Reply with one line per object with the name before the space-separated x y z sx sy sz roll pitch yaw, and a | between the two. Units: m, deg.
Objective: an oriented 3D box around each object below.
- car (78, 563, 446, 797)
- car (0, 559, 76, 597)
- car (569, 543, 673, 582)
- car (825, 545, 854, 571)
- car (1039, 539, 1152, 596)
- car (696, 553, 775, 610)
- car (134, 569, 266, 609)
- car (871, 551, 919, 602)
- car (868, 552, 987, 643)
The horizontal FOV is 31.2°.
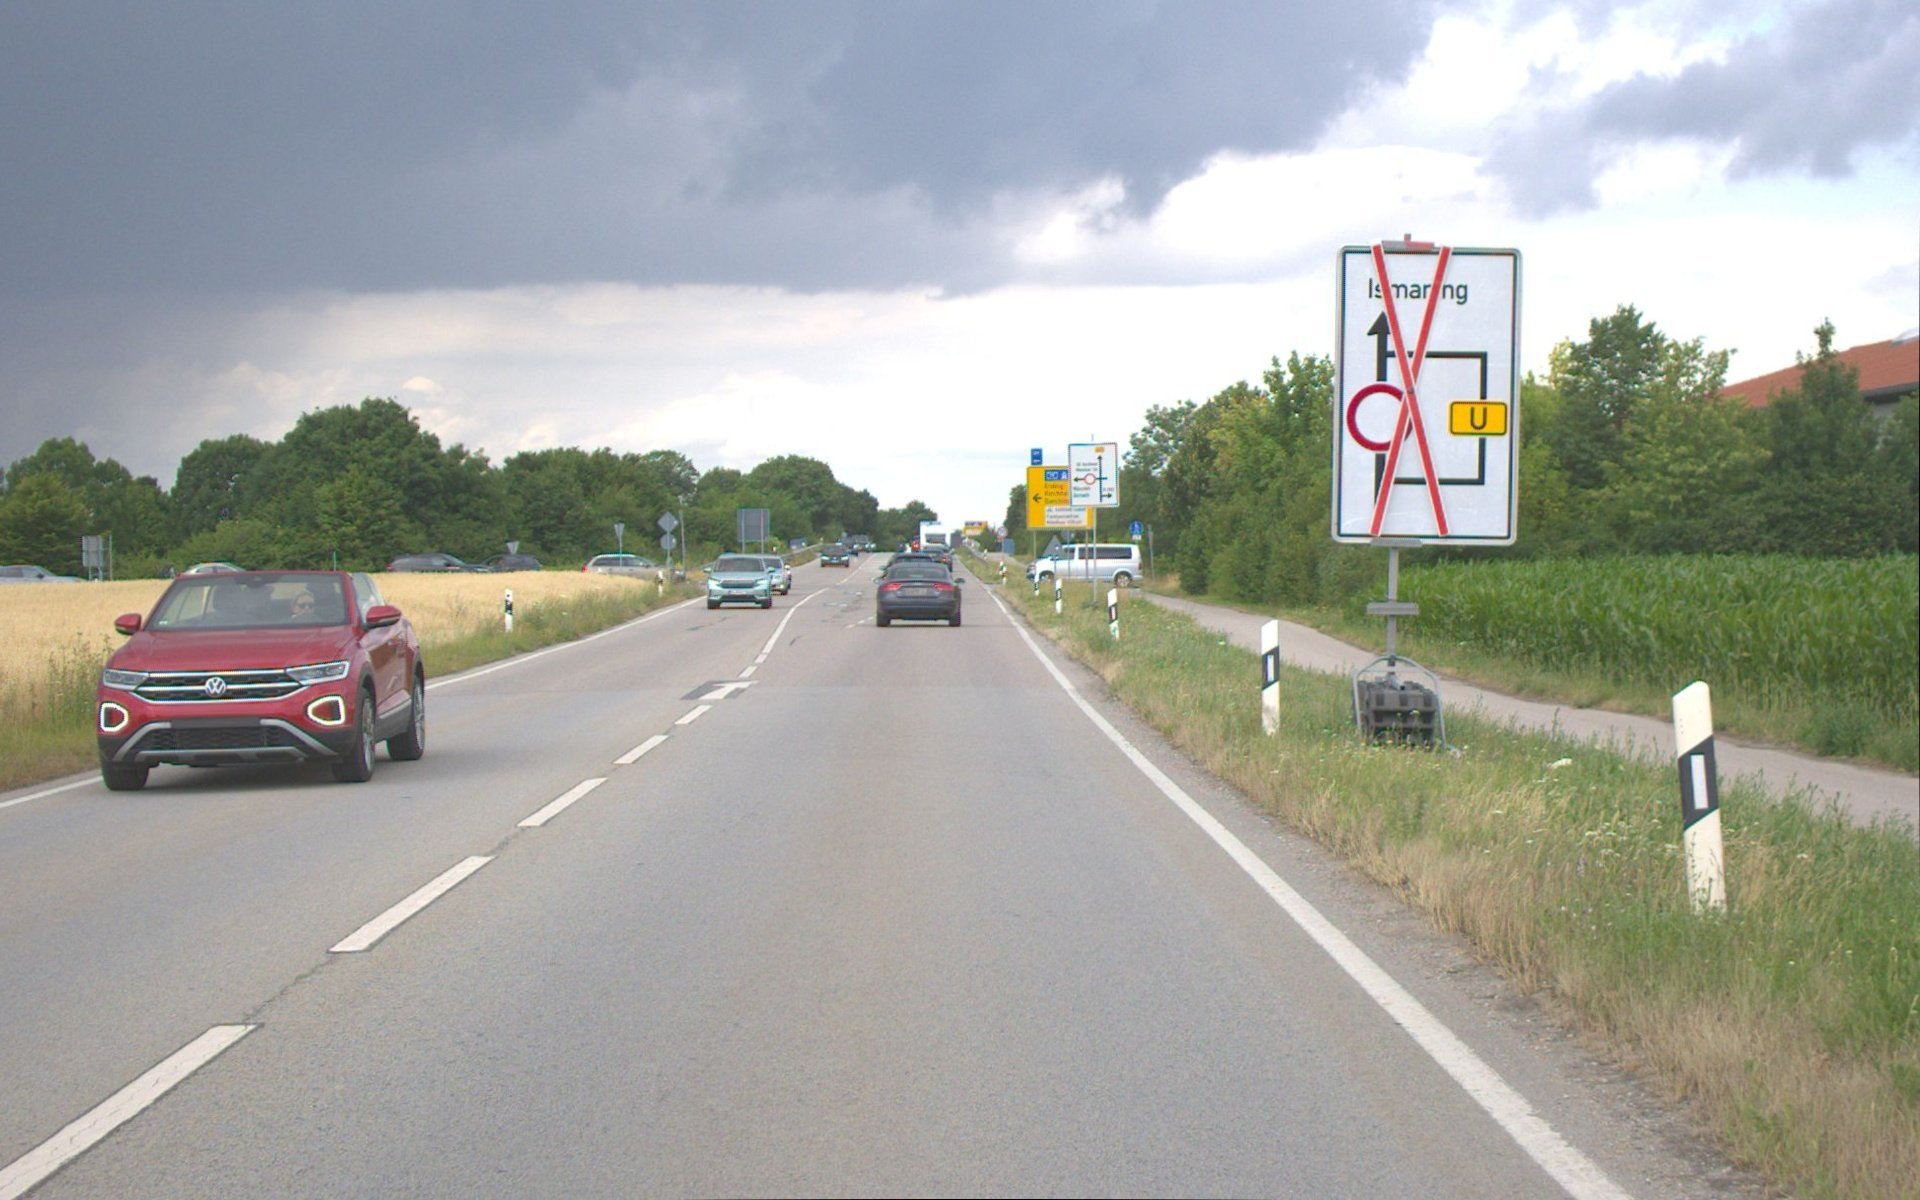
car | -4.883 0.496 24.669 1.712 1.483 4.608 -1 1 0
car | -40.940 -0.957 150.268 4.072 1.643 1.866 -1 0 4
car | -14.620 -1.622 148.451 4.412 1.643 1.502 -1 0 -5
car | -7.603 -2.654 217.322 1.646 1.585 4.000 -1 1 0
car | 5.988 -1.448 152.408 4.835 2.443 2.006 -1 0 -3
car | -6.662 -0.575 102.478 2.065 1.575 4.765 -2 1 -1
car | -33.151 -0.486 150.069 5.309 1.643 1.866 -1 0 4
car | -2.241 -0.818 119.071 1.571 1.695 4.000 0 0 0
car | -0.752 -0.073 75.514 2.371 1.874 4.478 -2 1 -3
